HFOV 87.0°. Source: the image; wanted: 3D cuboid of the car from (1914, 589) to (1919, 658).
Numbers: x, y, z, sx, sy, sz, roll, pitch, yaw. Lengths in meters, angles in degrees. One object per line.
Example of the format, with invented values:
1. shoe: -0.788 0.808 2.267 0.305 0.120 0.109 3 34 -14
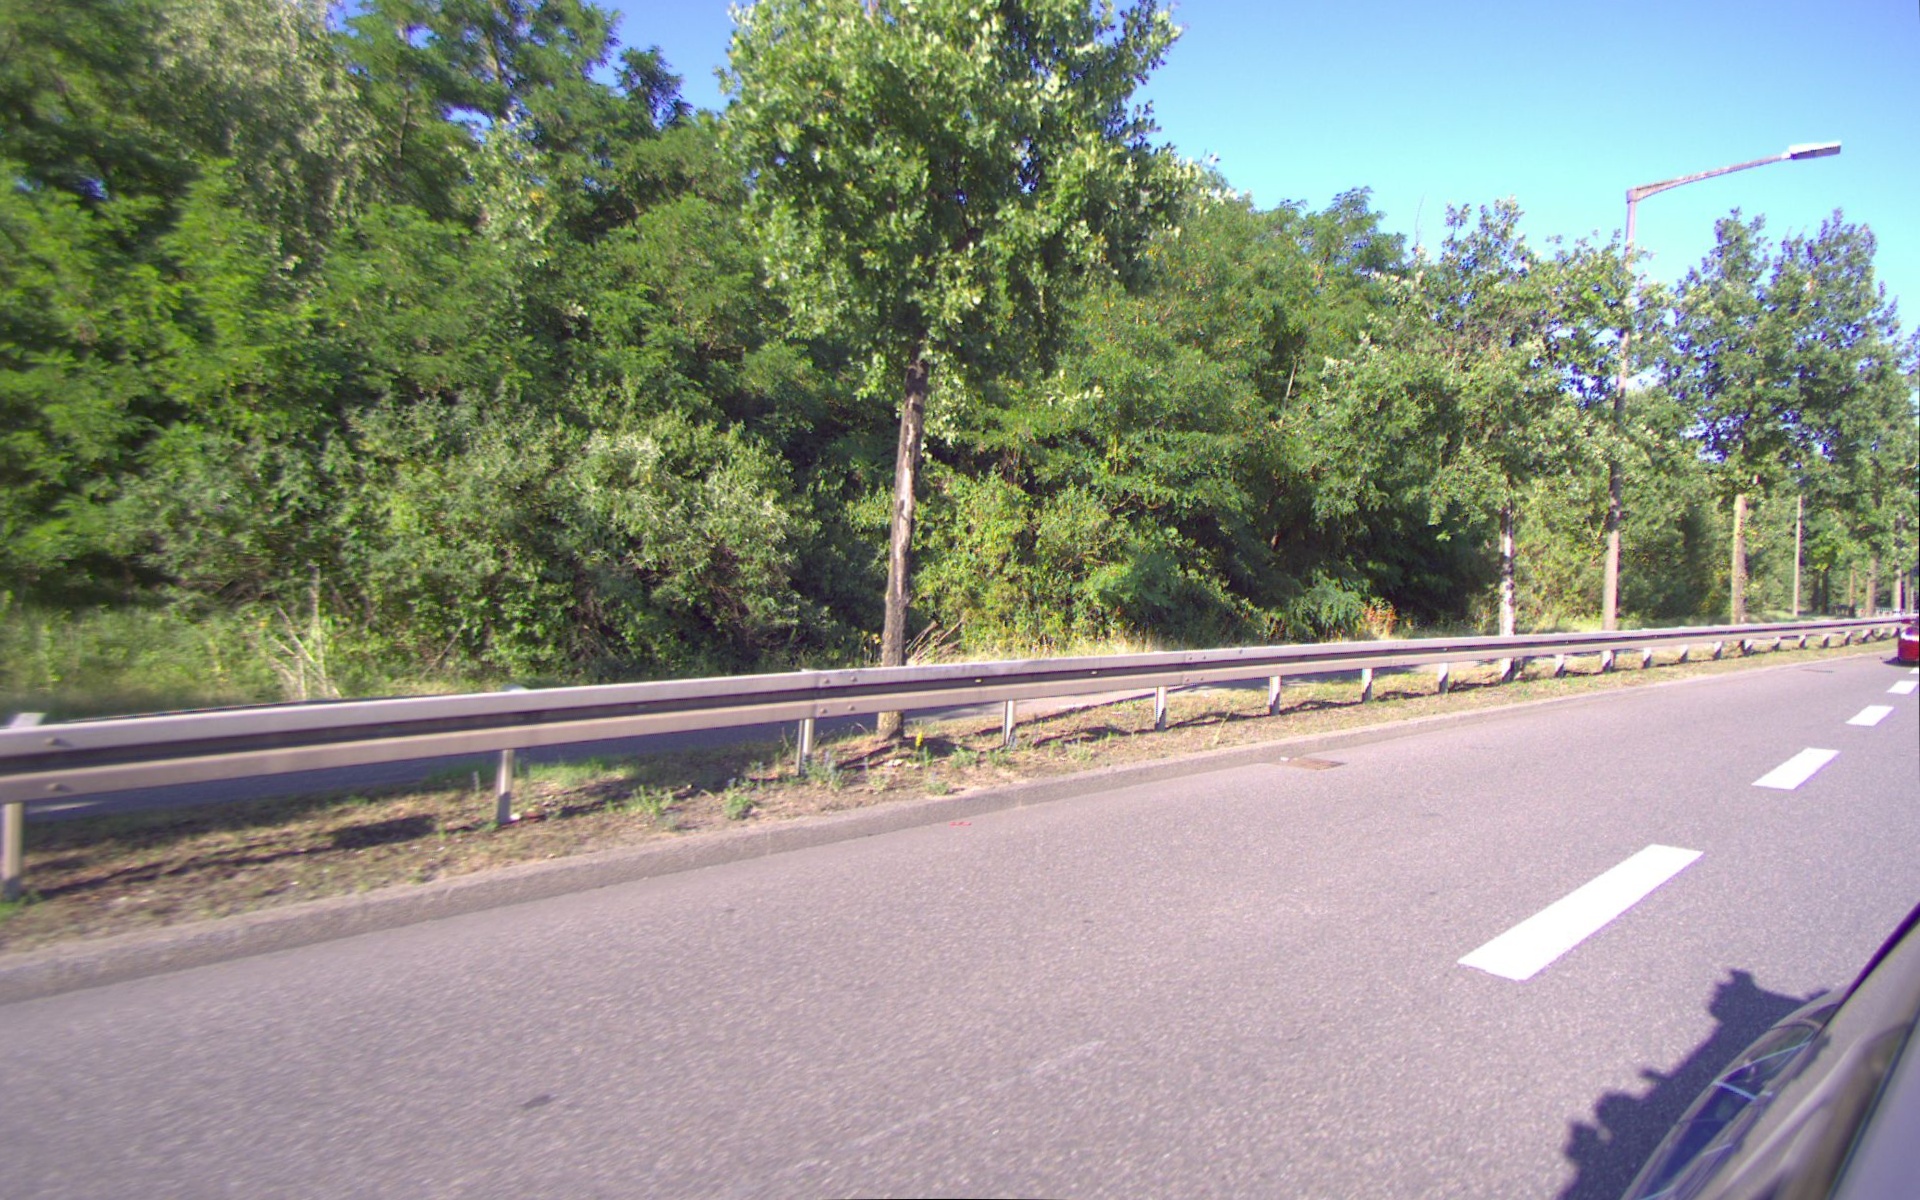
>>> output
1. car: 22.336 0.507 22.233 4.287 1.460 1.779 -1 3 -44
